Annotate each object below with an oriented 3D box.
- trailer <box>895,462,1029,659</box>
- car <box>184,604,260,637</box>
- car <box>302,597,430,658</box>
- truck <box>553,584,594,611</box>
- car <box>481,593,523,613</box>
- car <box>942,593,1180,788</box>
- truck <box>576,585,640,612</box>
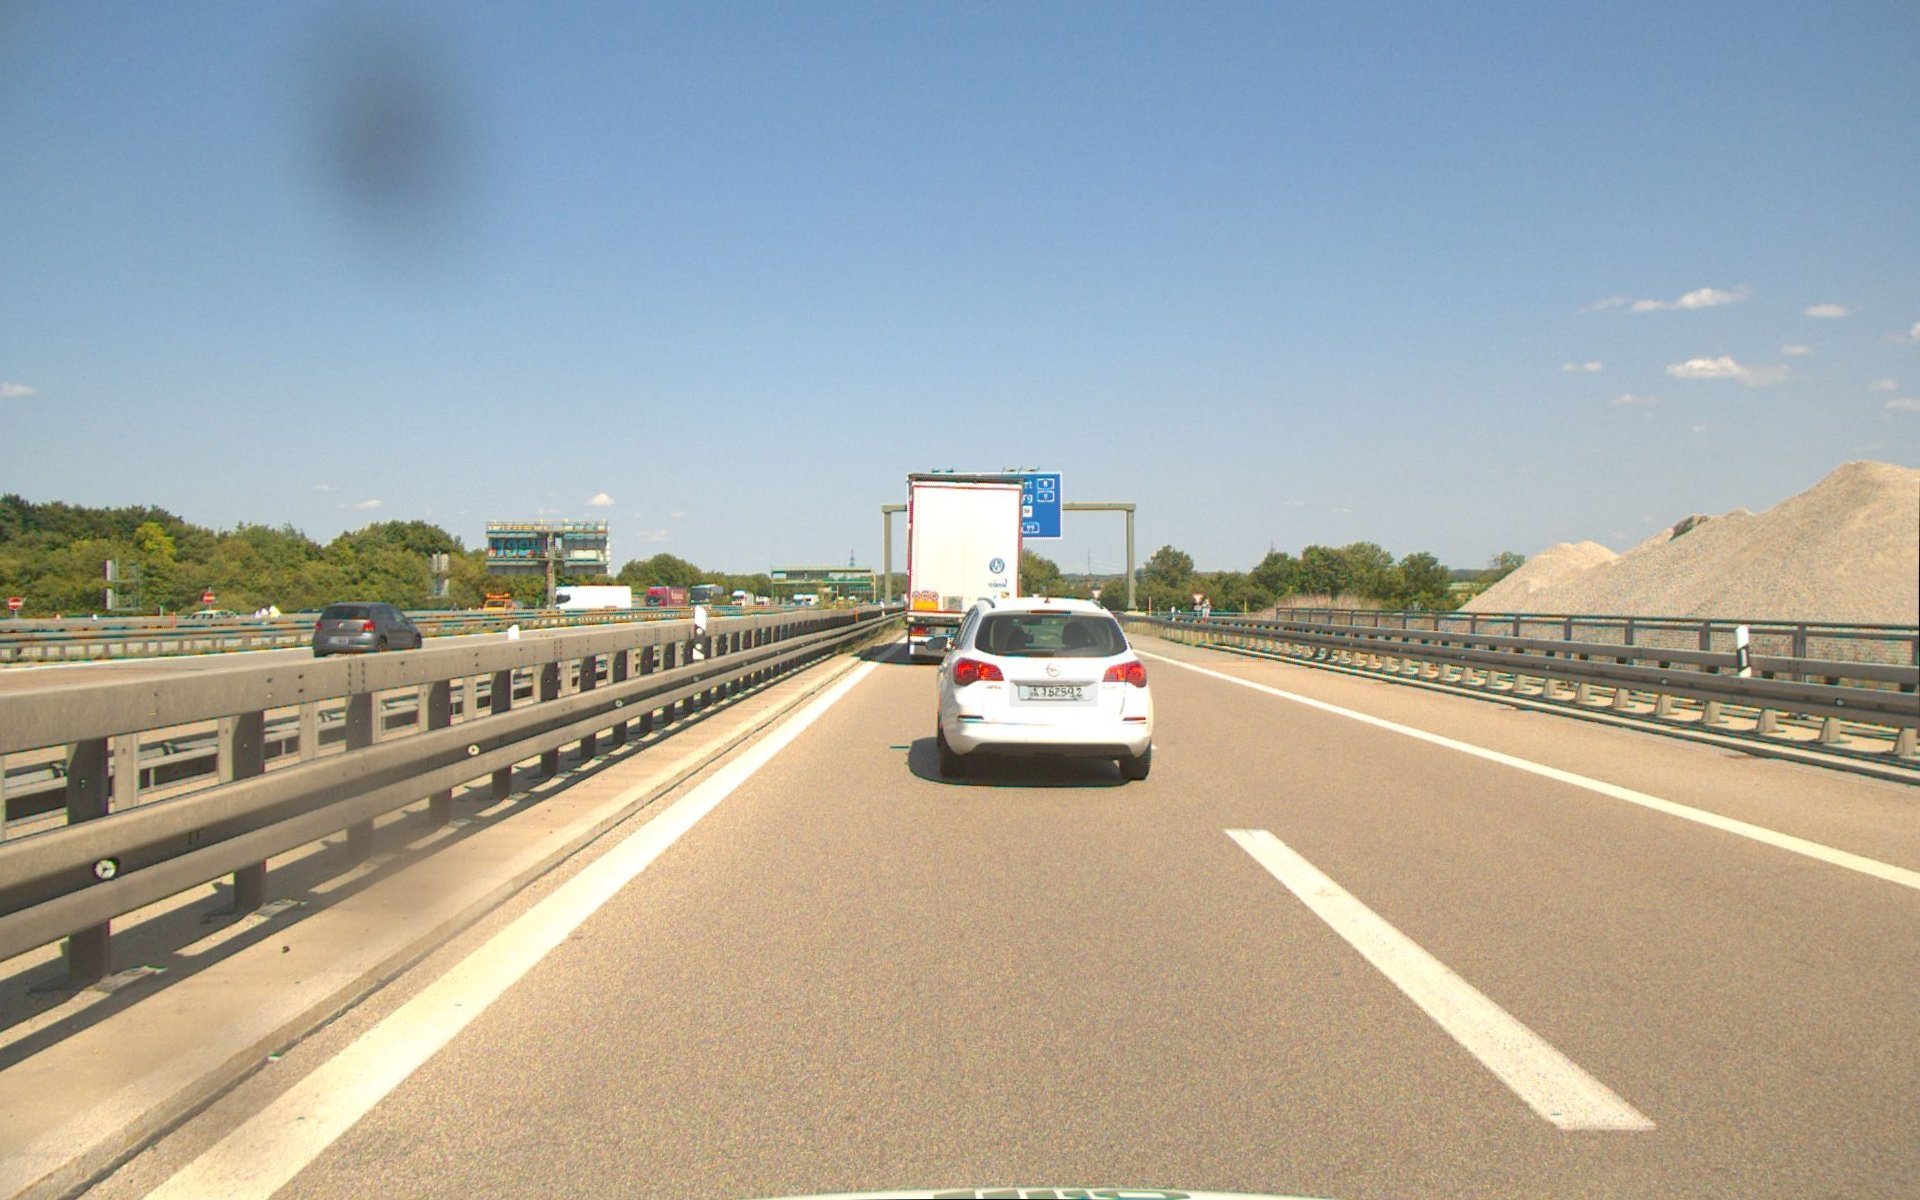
[{"bbox_3d":[0.030,-0.818,41.545,2.853,4.218,11.256,1,0,0],"label":"trailer"},{"bbox_3d":[-36.792,0.991,82.569,1.800,1.544,4.531,0,0,0],"label":"car"},{"bbox_3d":[-14.973,0.656,41.925,1.726,1.447,4.216,0,0,0],"label":"car"},{"bbox_3d":[-47.648,-0.304,204.087,1.954,3.358,5.383,0,0,25],"label":"truck"},{"bbox_3d":[-35.505,0.212,128.318,1.800,1.544,5.297,0,0,0],"label":"car"},{"bbox_3d":[0.768,0.686,14.918,1.816,1.468,4.371,1,0,0],"label":"car"},{"bbox_3d":[-44.871,-0.259,211.322,1.952,3.358,12.176,0,0,19],"label":"truck"}]
